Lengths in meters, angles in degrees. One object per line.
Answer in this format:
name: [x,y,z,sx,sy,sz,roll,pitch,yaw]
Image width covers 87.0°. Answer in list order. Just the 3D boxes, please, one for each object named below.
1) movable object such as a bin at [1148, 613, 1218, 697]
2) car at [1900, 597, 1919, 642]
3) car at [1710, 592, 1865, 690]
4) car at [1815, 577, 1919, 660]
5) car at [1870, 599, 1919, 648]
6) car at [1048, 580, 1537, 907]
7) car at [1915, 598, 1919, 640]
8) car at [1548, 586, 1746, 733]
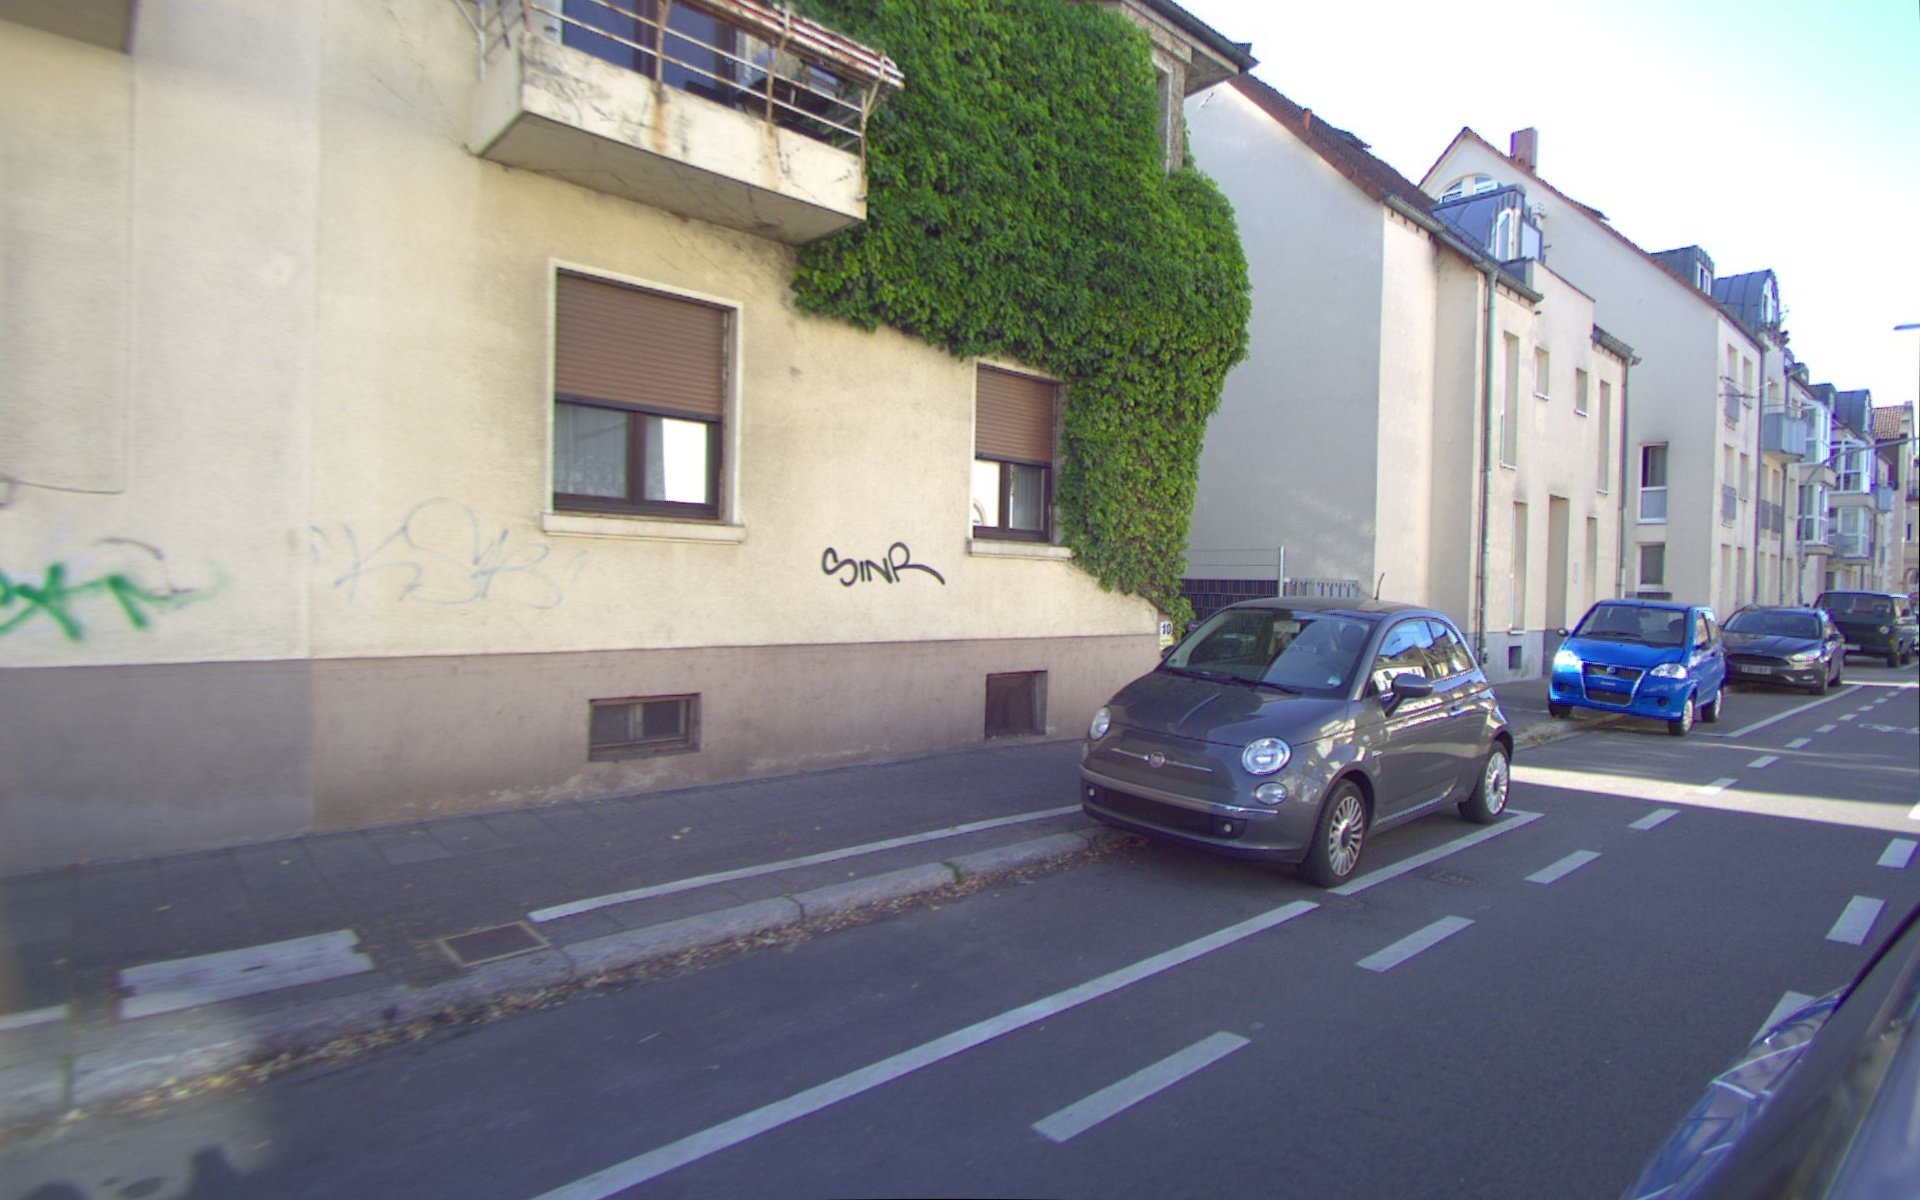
movable object such as a bin: [3.023,0.725,13.749,0.629,1.070,0.673,0,1,-44]
car: [34.892,0.686,36.240,3.590,1.577,1.555,0,0,-43]
car: [15.501,0.677,18.875,4.360,1.619,1.745,0,0,-44]
car: [24.168,0.461,26.726,4.486,2.012,1.908,0,0,-43]
car: [31.046,0.745,33.024,4.102,1.510,1.679,0,0,-43]
car: [2.321,0.679,6.590,3.490,1.545,1.602,0,0,-44]
car: [38.152,0.735,39.178,3.308,1.577,1.498,0,0,-43]
car: [8.783,0.659,12.849,3.239,1.619,1.458,0,0,-44]
